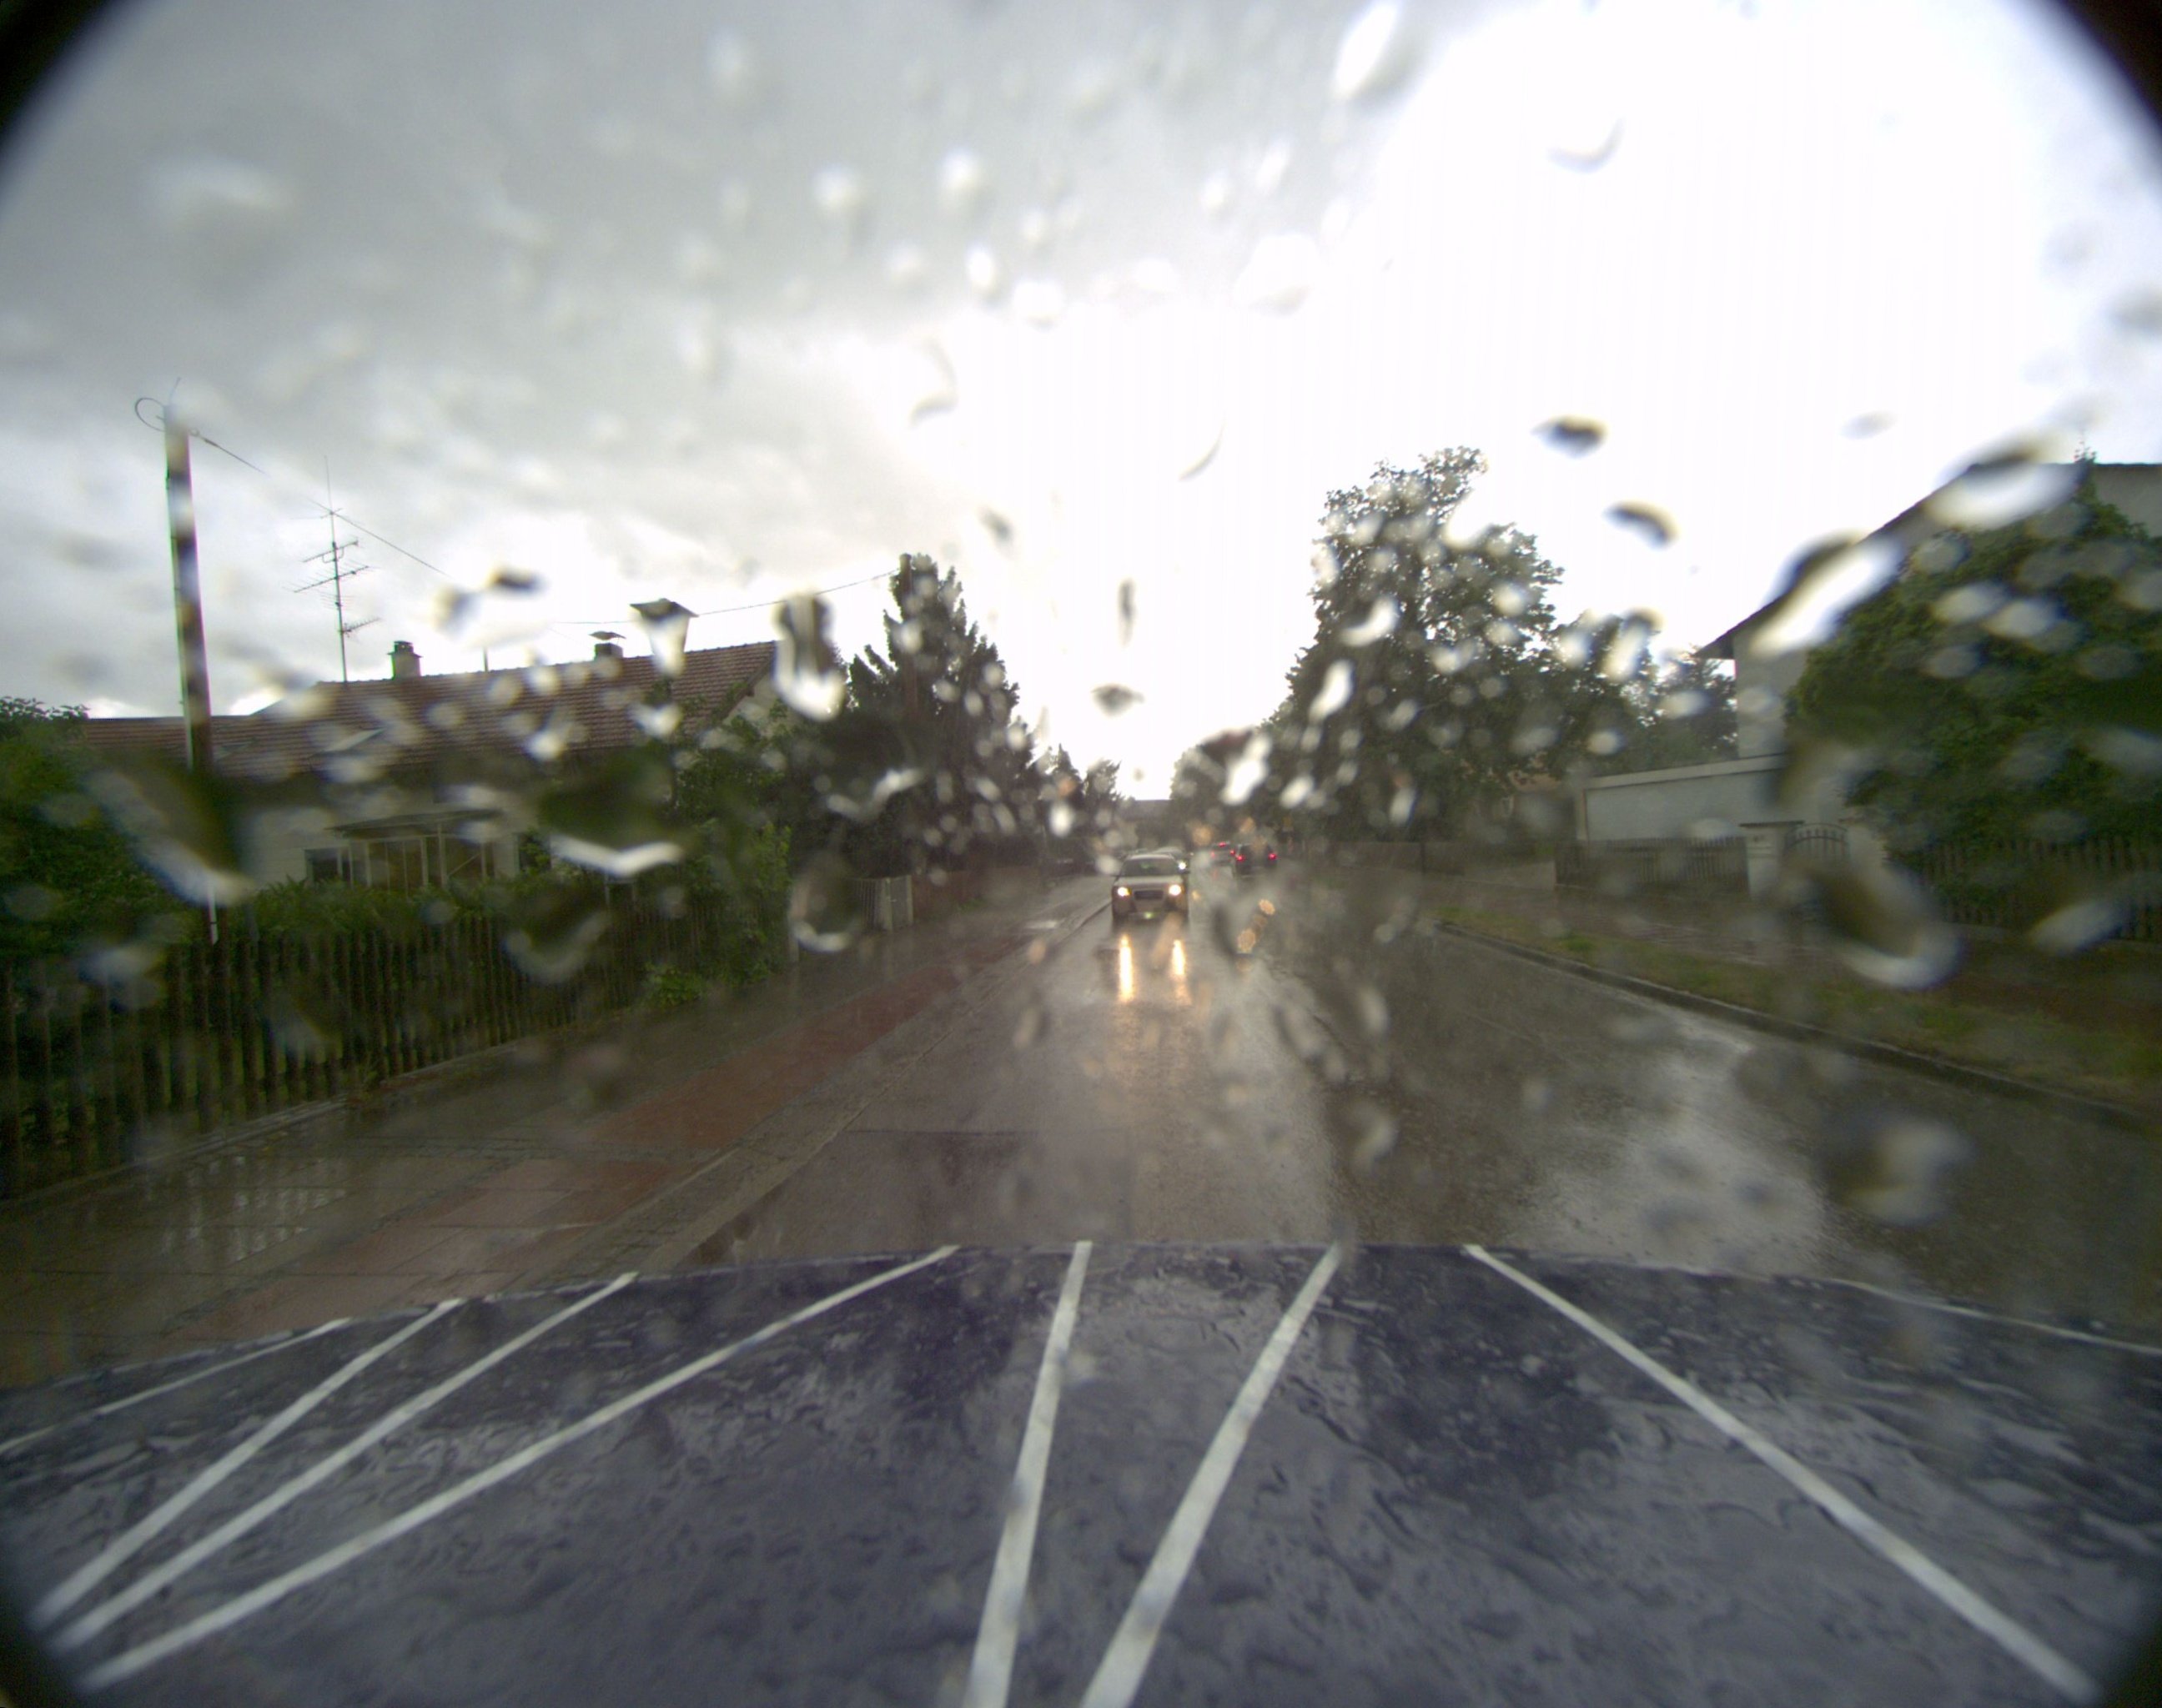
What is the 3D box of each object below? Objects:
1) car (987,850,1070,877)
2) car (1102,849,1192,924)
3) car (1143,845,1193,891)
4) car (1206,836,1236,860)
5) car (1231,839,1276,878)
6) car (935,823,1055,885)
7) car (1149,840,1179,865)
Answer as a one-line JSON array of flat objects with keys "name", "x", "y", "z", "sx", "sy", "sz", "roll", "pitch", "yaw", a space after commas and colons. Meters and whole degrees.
[{"name": "car", "x": -2.843, "y": 0.510, "z": 41.787, "sx": 4.440, "sy": 1.413, "sz": 1.830, "roll": 0, "pitch": 1, "yaw": 0}, {"name": "car", "x": 1.701, "y": 0.700, "z": 18.583, "sx": 1.871, "sy": 1.512, "sz": 4.190, "roll": -3, "pitch": 1, "yaw": 8}, {"name": "car", "x": 3.833, "y": 0.555, "z": 33.142, "sx": 1.871, "sy": 1.603, "sz": 4.962, "roll": -5, "pitch": 1, "yaw": 8}, {"name": "car", "x": 10.273, "y": -0.457, "z": 55.891, "sx": 1.757, "sy": 1.668, "sz": 4.001, "roll": -1, "pitch": 1, "yaw": 5}, {"name": "car", "x": 7.558, "y": 0.172, "z": 33.595, "sx": 1.590, "sy": 1.601, "sz": 3.540, "roll": -2, "pitch": 1, "yaw": 7}, {"name": "car", "x": -3.899, "y": -0.015, "z": 35.167, "sx": 5.317, "sy": 2.712, "sz": 1.999, "roll": 0, "pitch": 1, "yaw": -2}, {"name": "car", "x": 5.907, "y": -0.135, "z": 53.530, "sx": 1.871, "sy": 1.512, "sz": 4.963, "roll": -5, "pitch": 1, "yaw": 8}]
